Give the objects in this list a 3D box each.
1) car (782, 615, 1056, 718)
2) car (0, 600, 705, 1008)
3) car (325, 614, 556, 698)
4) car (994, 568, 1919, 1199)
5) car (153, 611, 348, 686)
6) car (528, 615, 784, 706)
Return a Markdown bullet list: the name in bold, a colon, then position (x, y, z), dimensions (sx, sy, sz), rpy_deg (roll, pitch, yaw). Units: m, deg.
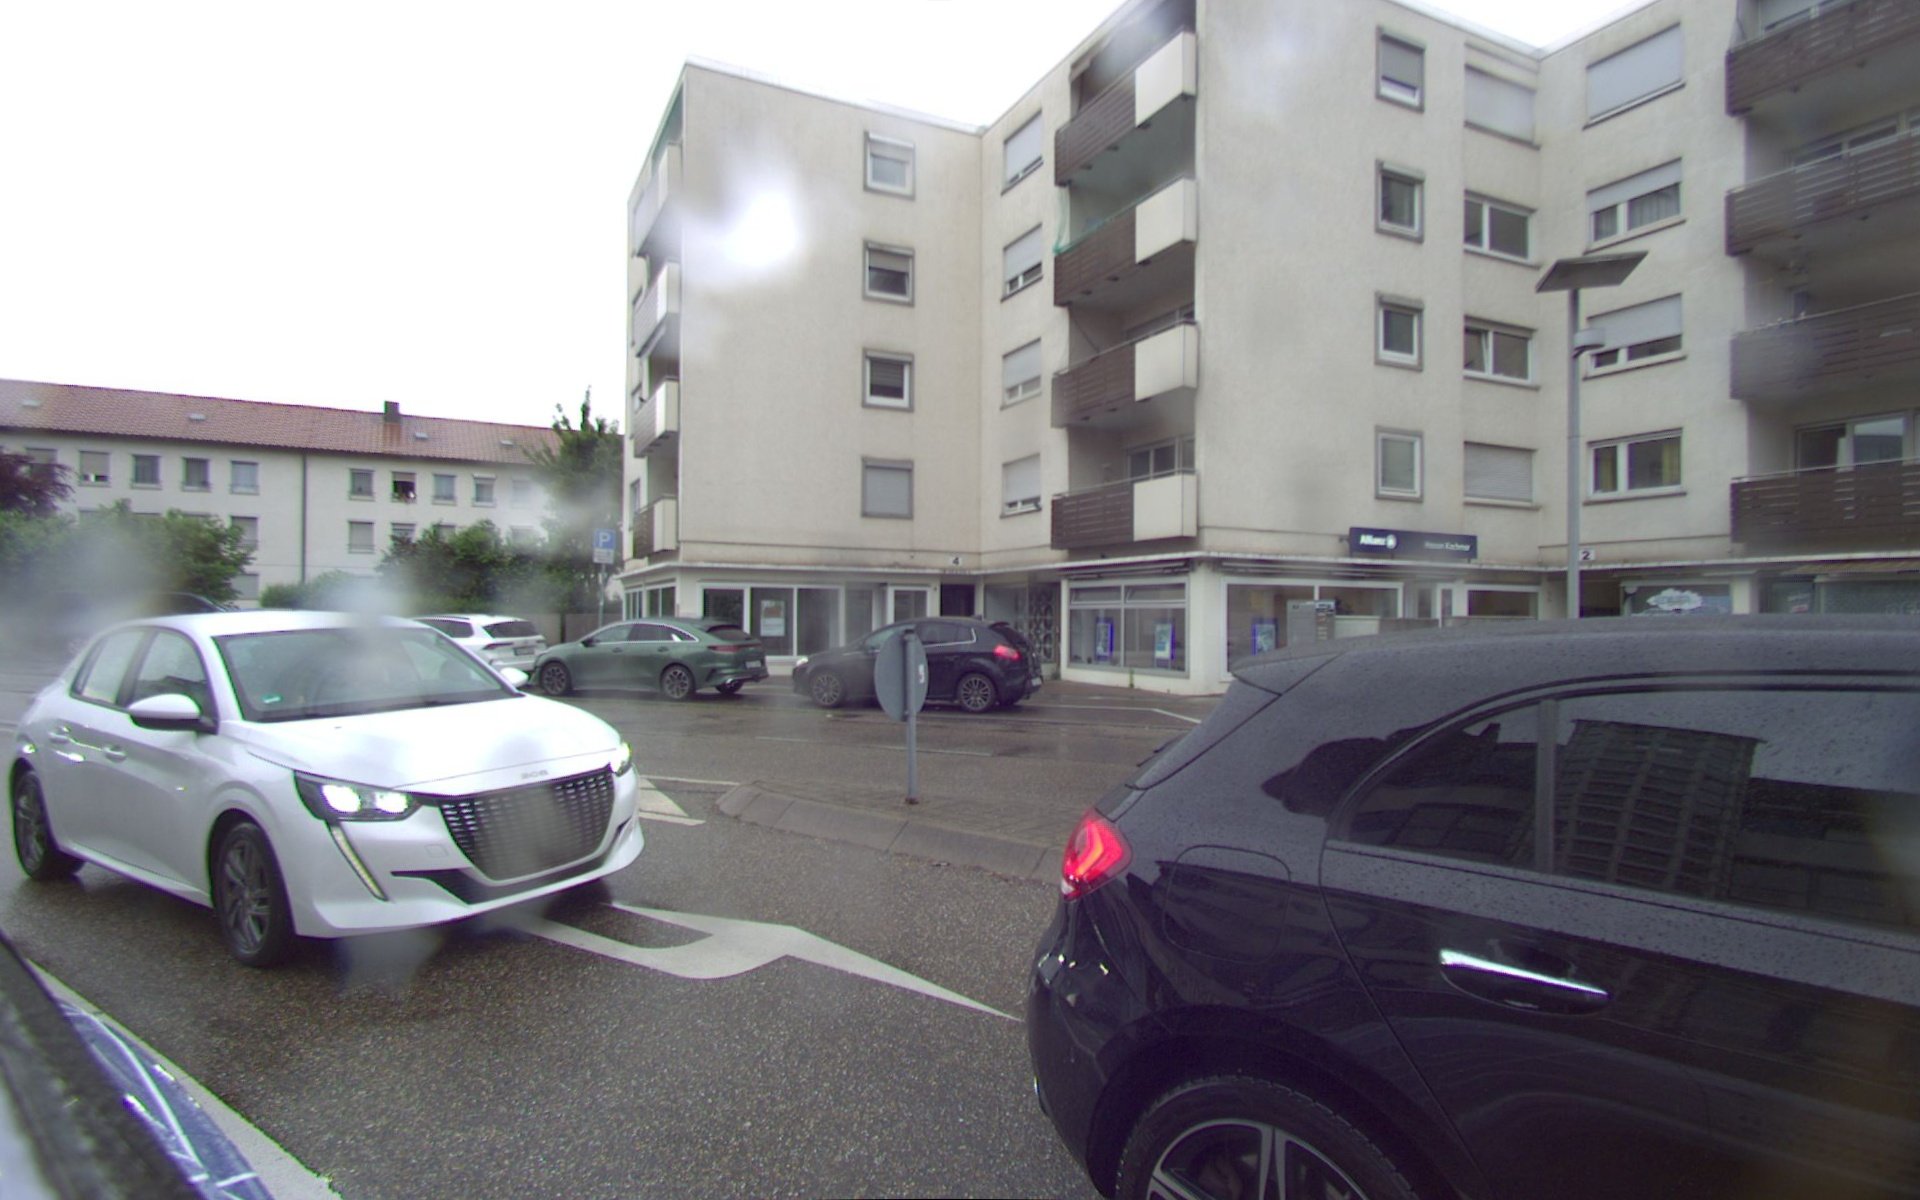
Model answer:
- **car**: position (-0.652, 1.015, 16.640), dimensions (4.156, 1.471, 1.825), rpy_deg (0, 0, 20)
- **car**: position (-3.374, 0.745, 5.327), dimensions (3.882, 1.420, 1.726), rpy_deg (-1, 0, 31)
- **car**: position (-10.428, 1.066, 20.326), dimensions (4.313, 1.511, 1.627), rpy_deg (0, -1, 20)
- **car**: position (2.172, 0.683, 1.316), dimensions (4.090, 1.492, 1.646), rpy_deg (-2, -1, 40)
- **car**: position (-15.655, 1.029, 22.354), dimensions (3.852, 1.517, 1.623), rpy_deg (0, -1, 20)
- **car**: position (-5.546, 1.035, 18.529), dimensions (4.241, 1.445, 1.826), rpy_deg (0, 0, 19)
